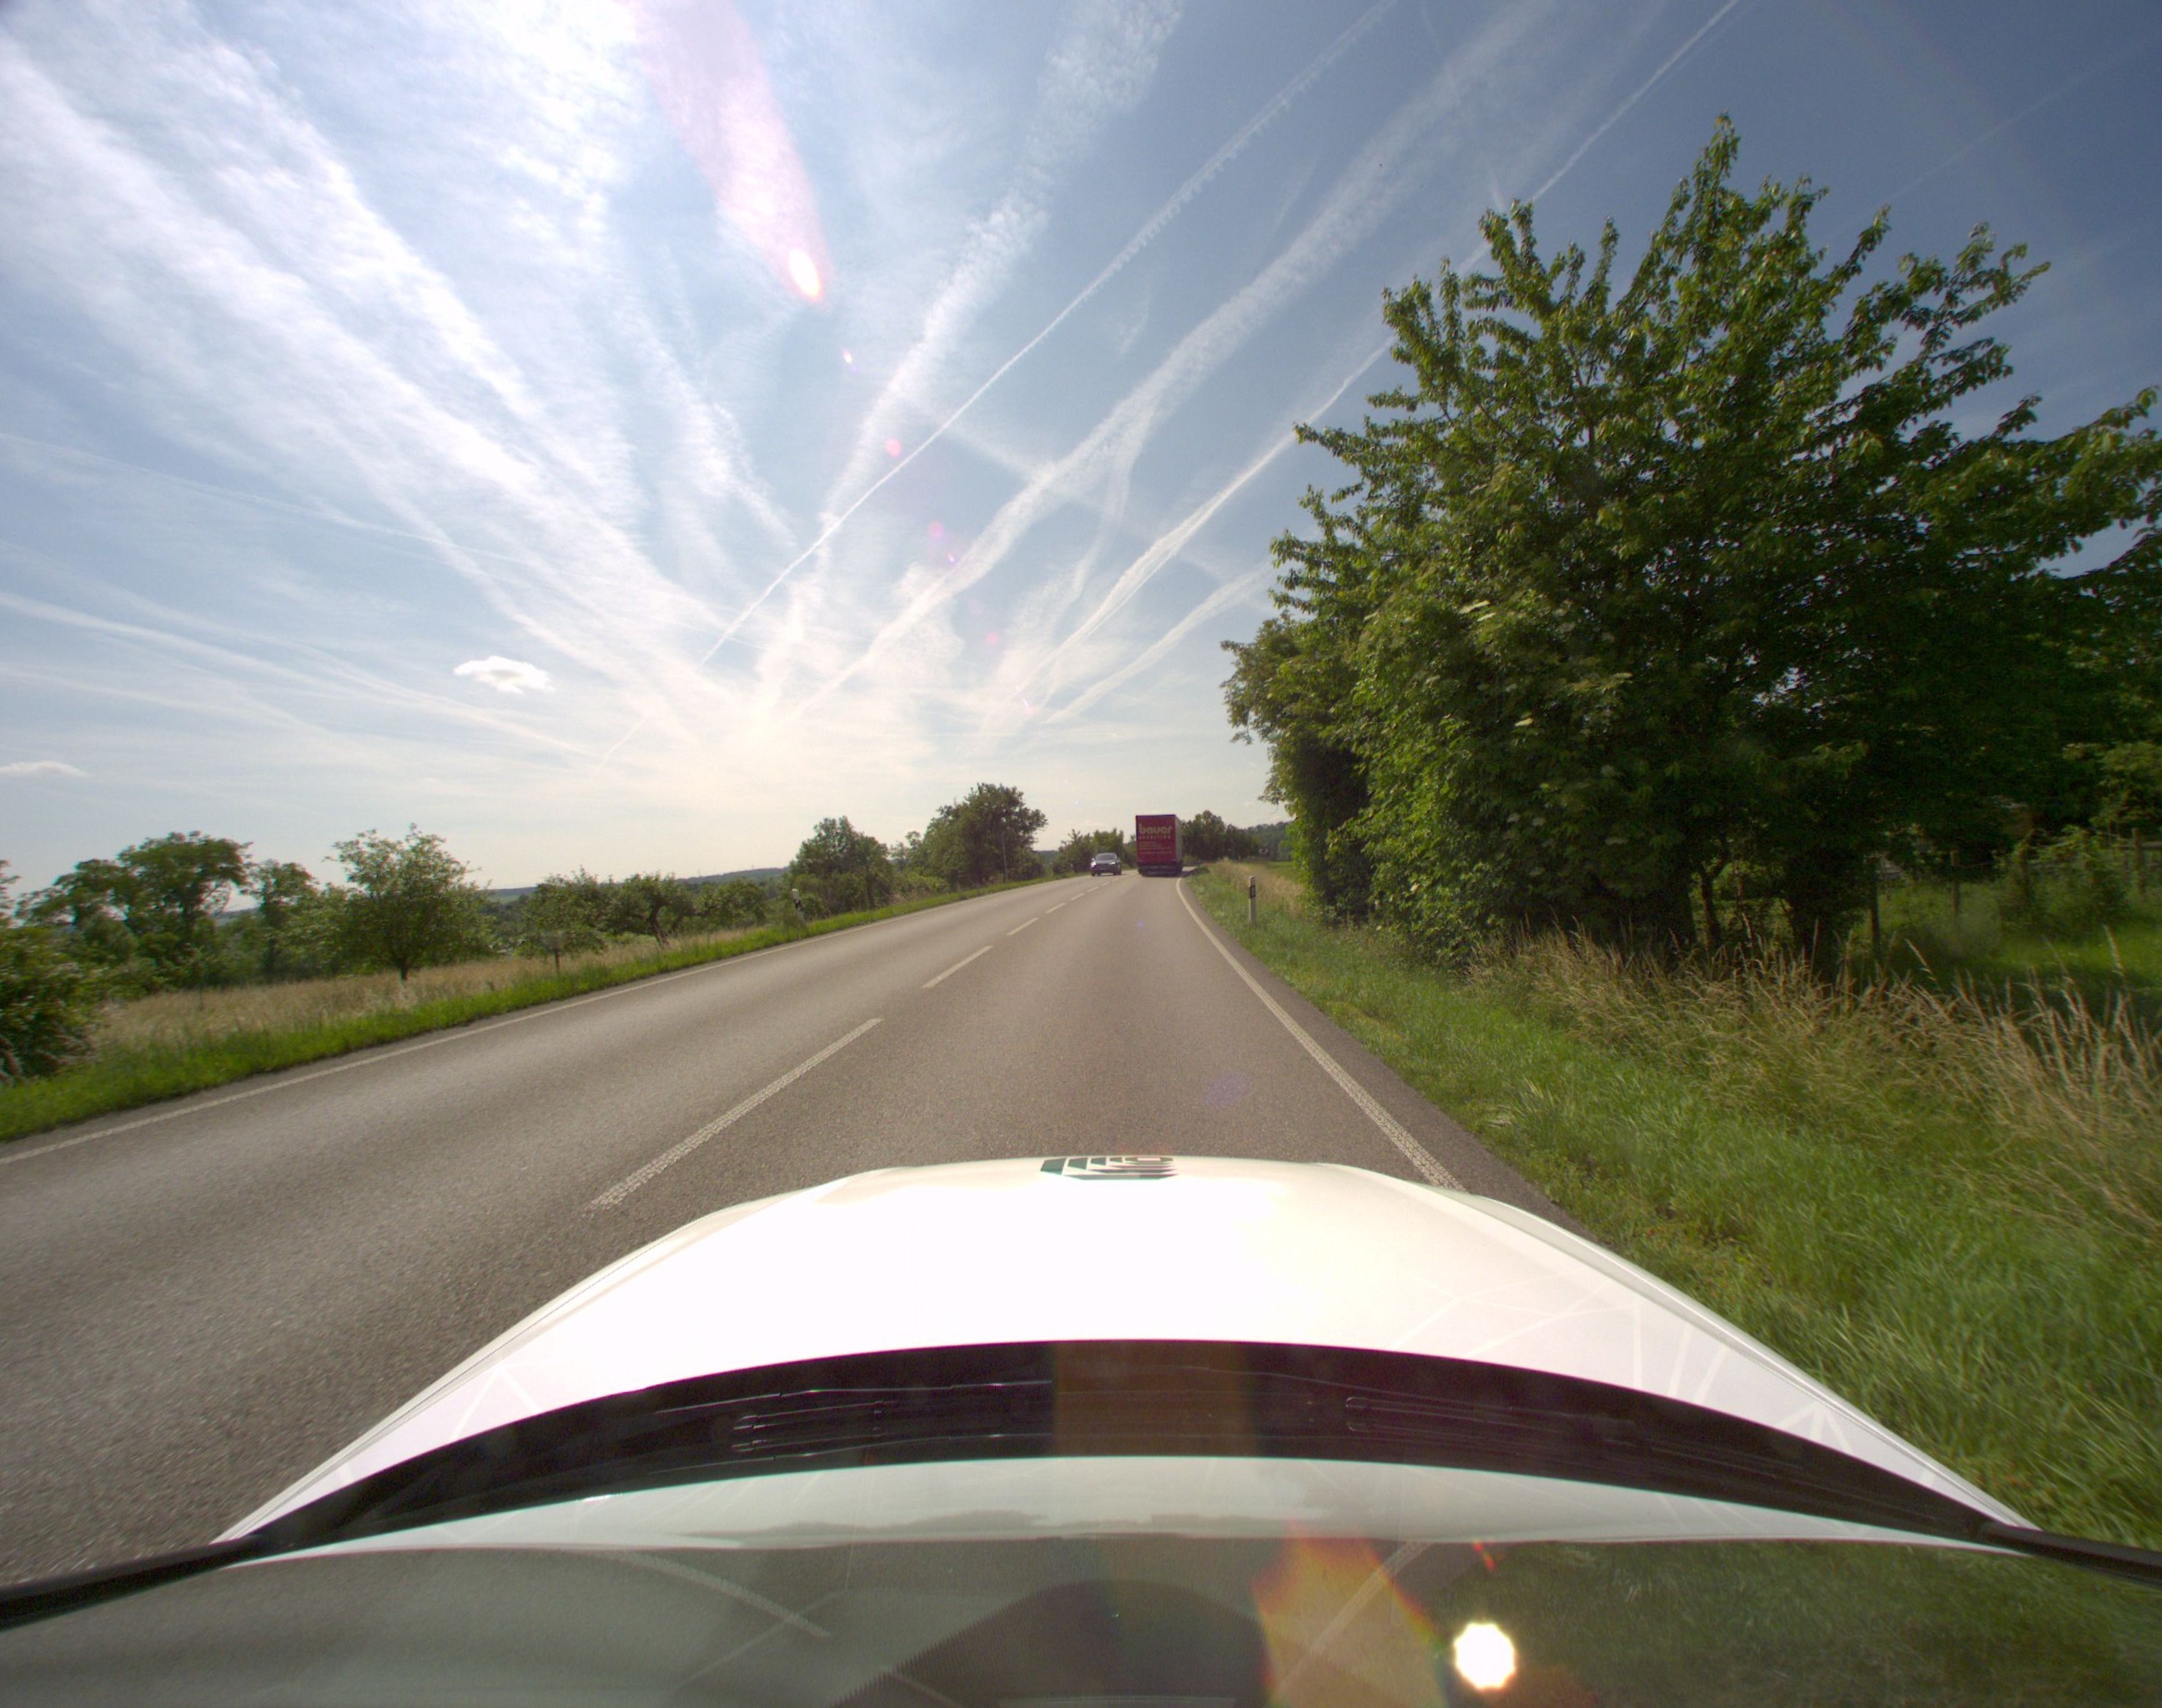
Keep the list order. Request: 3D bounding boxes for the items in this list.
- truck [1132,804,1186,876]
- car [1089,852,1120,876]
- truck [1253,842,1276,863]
[{"bbox_3d":[5.662,-0.760,57.070,3.094,4.506,12.195,0,-1,9],"label":"truck"},{"bbox_3d":[1.759,0.693,59.654,1.870,1.593,4.498,-2,0,5],"label":"car"},{"bbox_3d":[45.226,-0.294,199.964,3.873,4.690,16.449,-4,-2,17],"label":"truck"}]
